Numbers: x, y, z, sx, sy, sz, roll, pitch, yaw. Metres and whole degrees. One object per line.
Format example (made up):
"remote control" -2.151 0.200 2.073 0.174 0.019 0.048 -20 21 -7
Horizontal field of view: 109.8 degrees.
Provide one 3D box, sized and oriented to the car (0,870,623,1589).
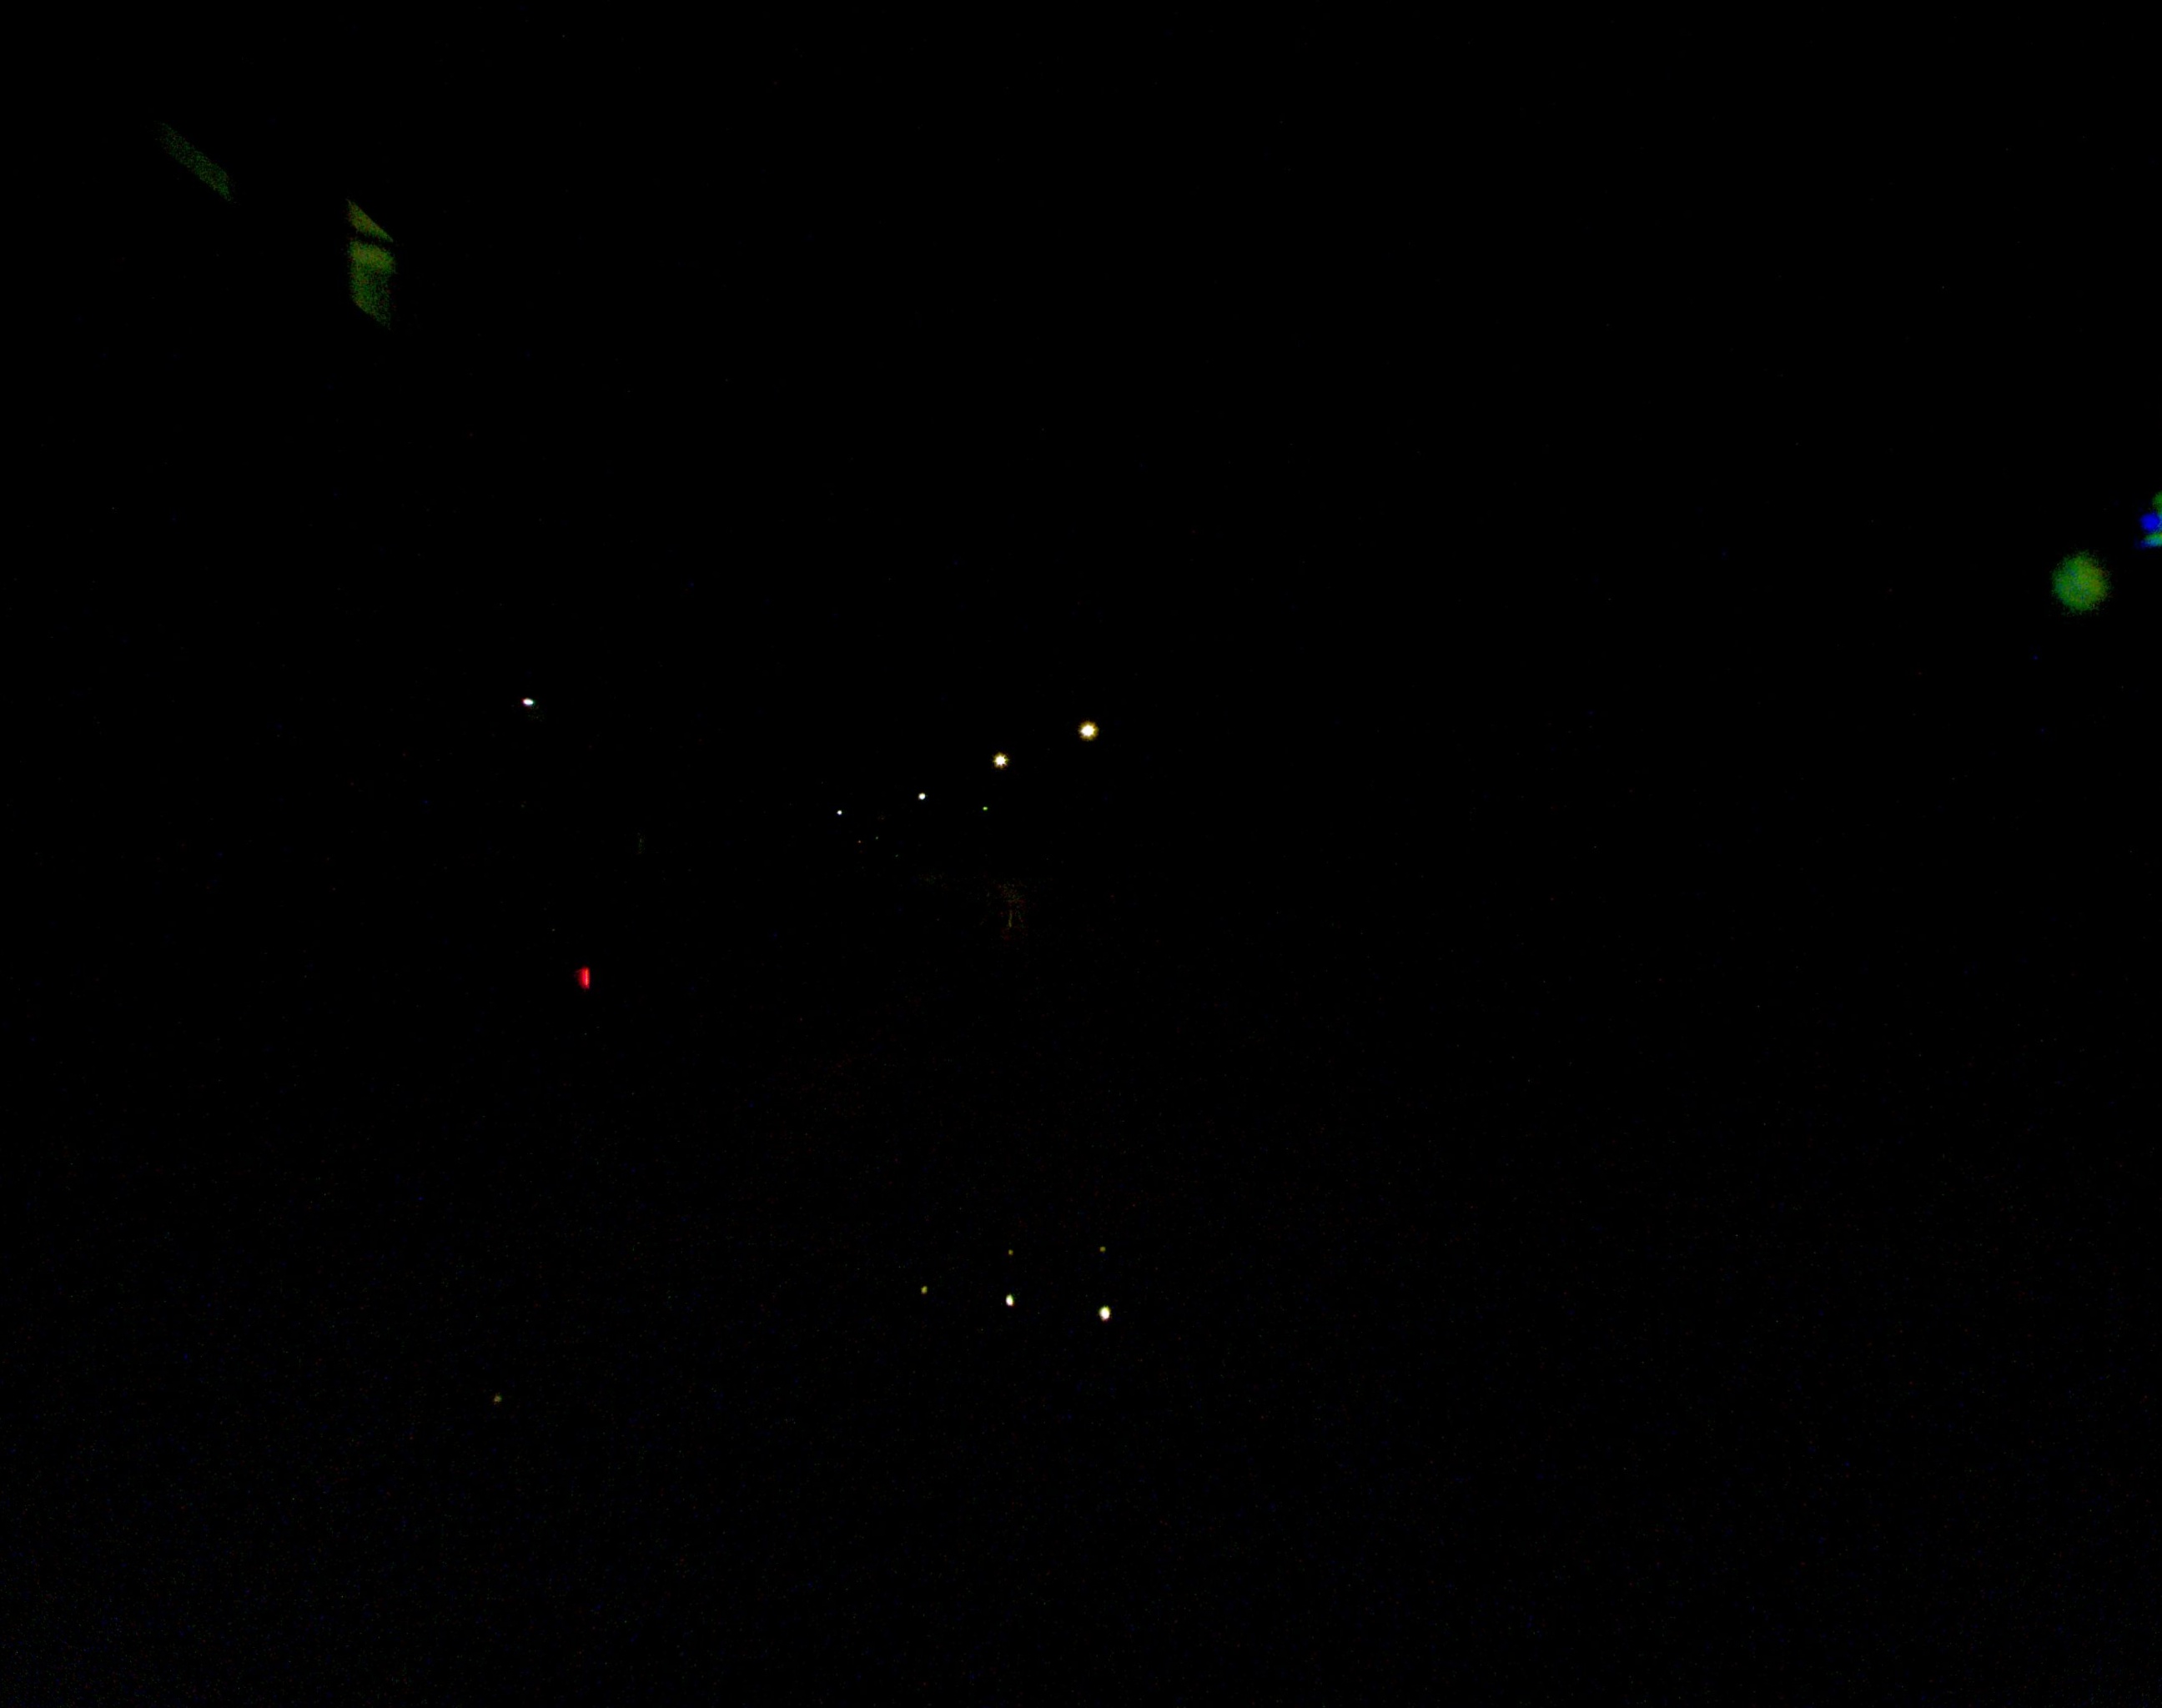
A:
"car" -3.394 0.942 2.051 1.674 1.601 4.228 -1 1 0
